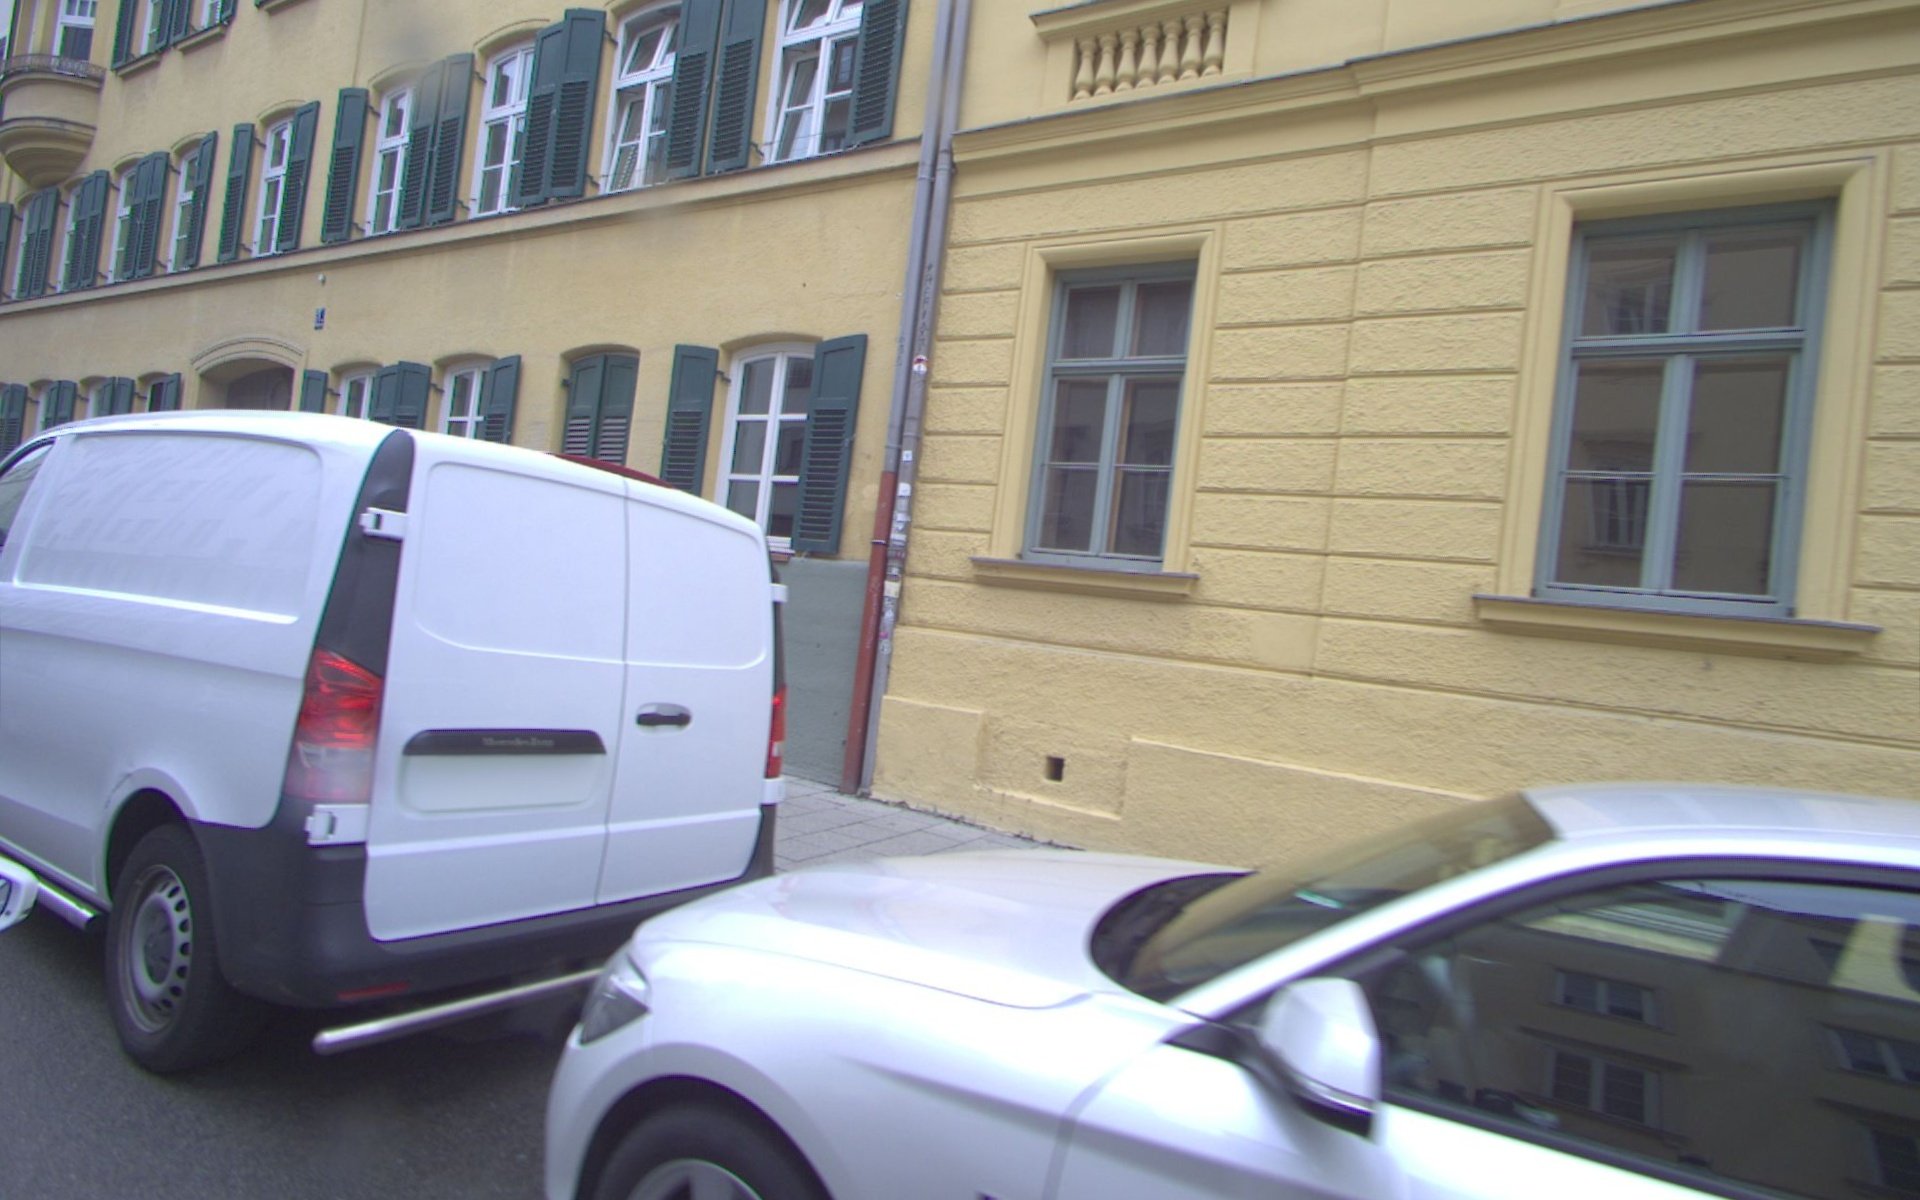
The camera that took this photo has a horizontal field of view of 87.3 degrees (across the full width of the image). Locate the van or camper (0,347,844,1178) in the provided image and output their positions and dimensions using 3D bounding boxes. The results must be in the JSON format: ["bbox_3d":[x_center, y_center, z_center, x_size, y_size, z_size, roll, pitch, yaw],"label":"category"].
[{"bbox_3d":[-3.144,0.223,4.377,4.994,1.893,1.837,6,-2,32],"label":"van or camper"}]

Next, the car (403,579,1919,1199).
[{"bbox_3d":[1.111,0.945,1.841,4.134,1.408,1.713,6,-2,29],"label":"car"}]
